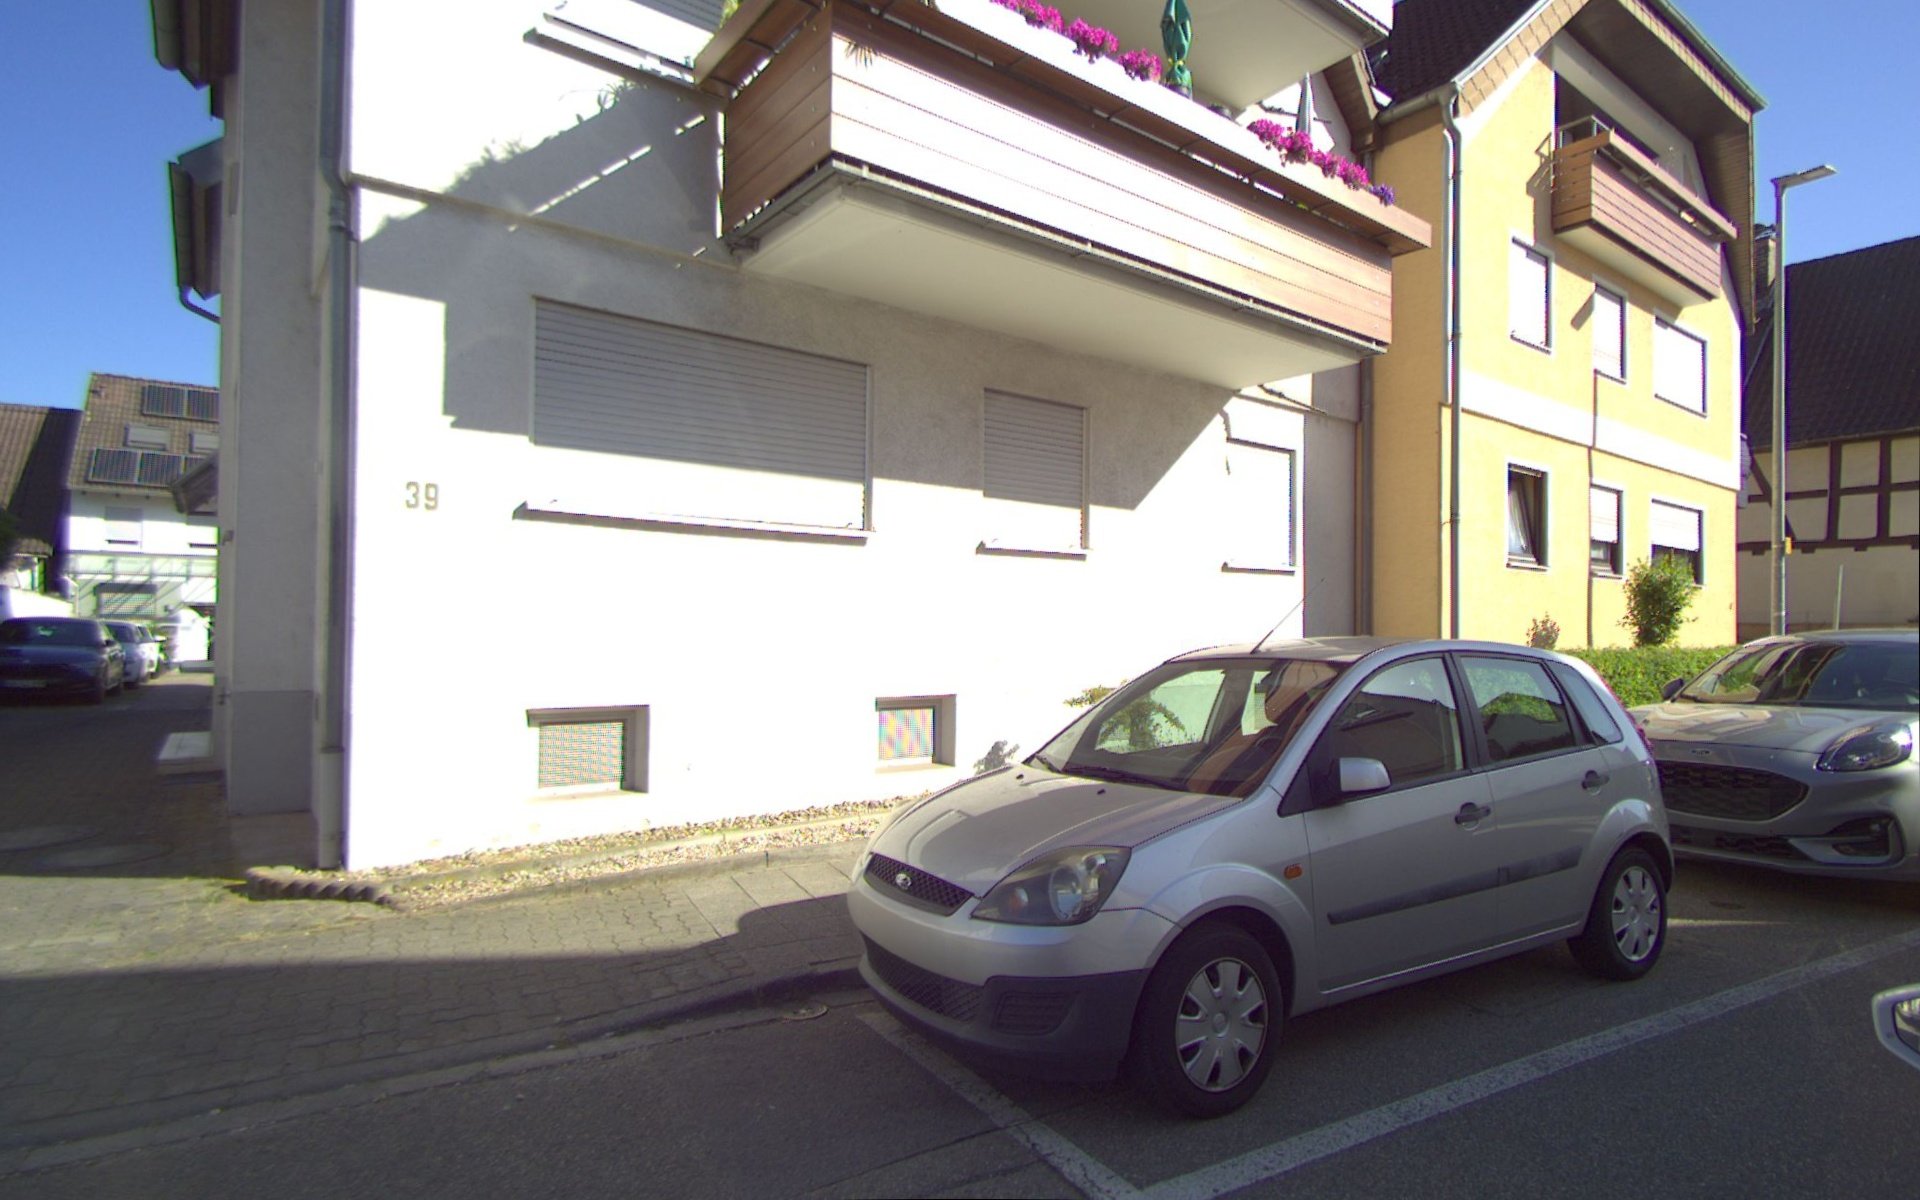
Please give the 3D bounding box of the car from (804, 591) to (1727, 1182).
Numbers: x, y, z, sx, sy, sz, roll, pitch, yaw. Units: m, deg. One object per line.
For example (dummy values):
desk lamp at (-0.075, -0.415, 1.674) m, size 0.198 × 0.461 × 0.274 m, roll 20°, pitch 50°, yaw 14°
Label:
car at (1.413, 0.824, 4.305) m, size 3.808 × 1.525 × 1.624 m, roll 1°, pitch -4°, yaw -31°

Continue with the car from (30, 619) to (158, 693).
car at (-18.638, 1.188, 21.776) m, size 1.714 × 1.461 × 3.959 m, roll 3°, pitch -3°, yaw -36°

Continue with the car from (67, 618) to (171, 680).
car at (-21.502, 1.259, 25.809) m, size 1.714 × 1.461 × 3.959 m, roll 3°, pitch -3°, yaw -36°

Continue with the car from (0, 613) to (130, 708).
car at (-15.700, 1.008, 17.413) m, size 1.714 × 1.461 × 3.959 m, roll 3°, pitch -3°, yaw -36°

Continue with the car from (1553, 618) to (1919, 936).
car at (5.881, 0.914, 6.563) m, size 4.045 × 1.525 × 1.666 m, roll 1°, pitch -2°, yaw -29°
